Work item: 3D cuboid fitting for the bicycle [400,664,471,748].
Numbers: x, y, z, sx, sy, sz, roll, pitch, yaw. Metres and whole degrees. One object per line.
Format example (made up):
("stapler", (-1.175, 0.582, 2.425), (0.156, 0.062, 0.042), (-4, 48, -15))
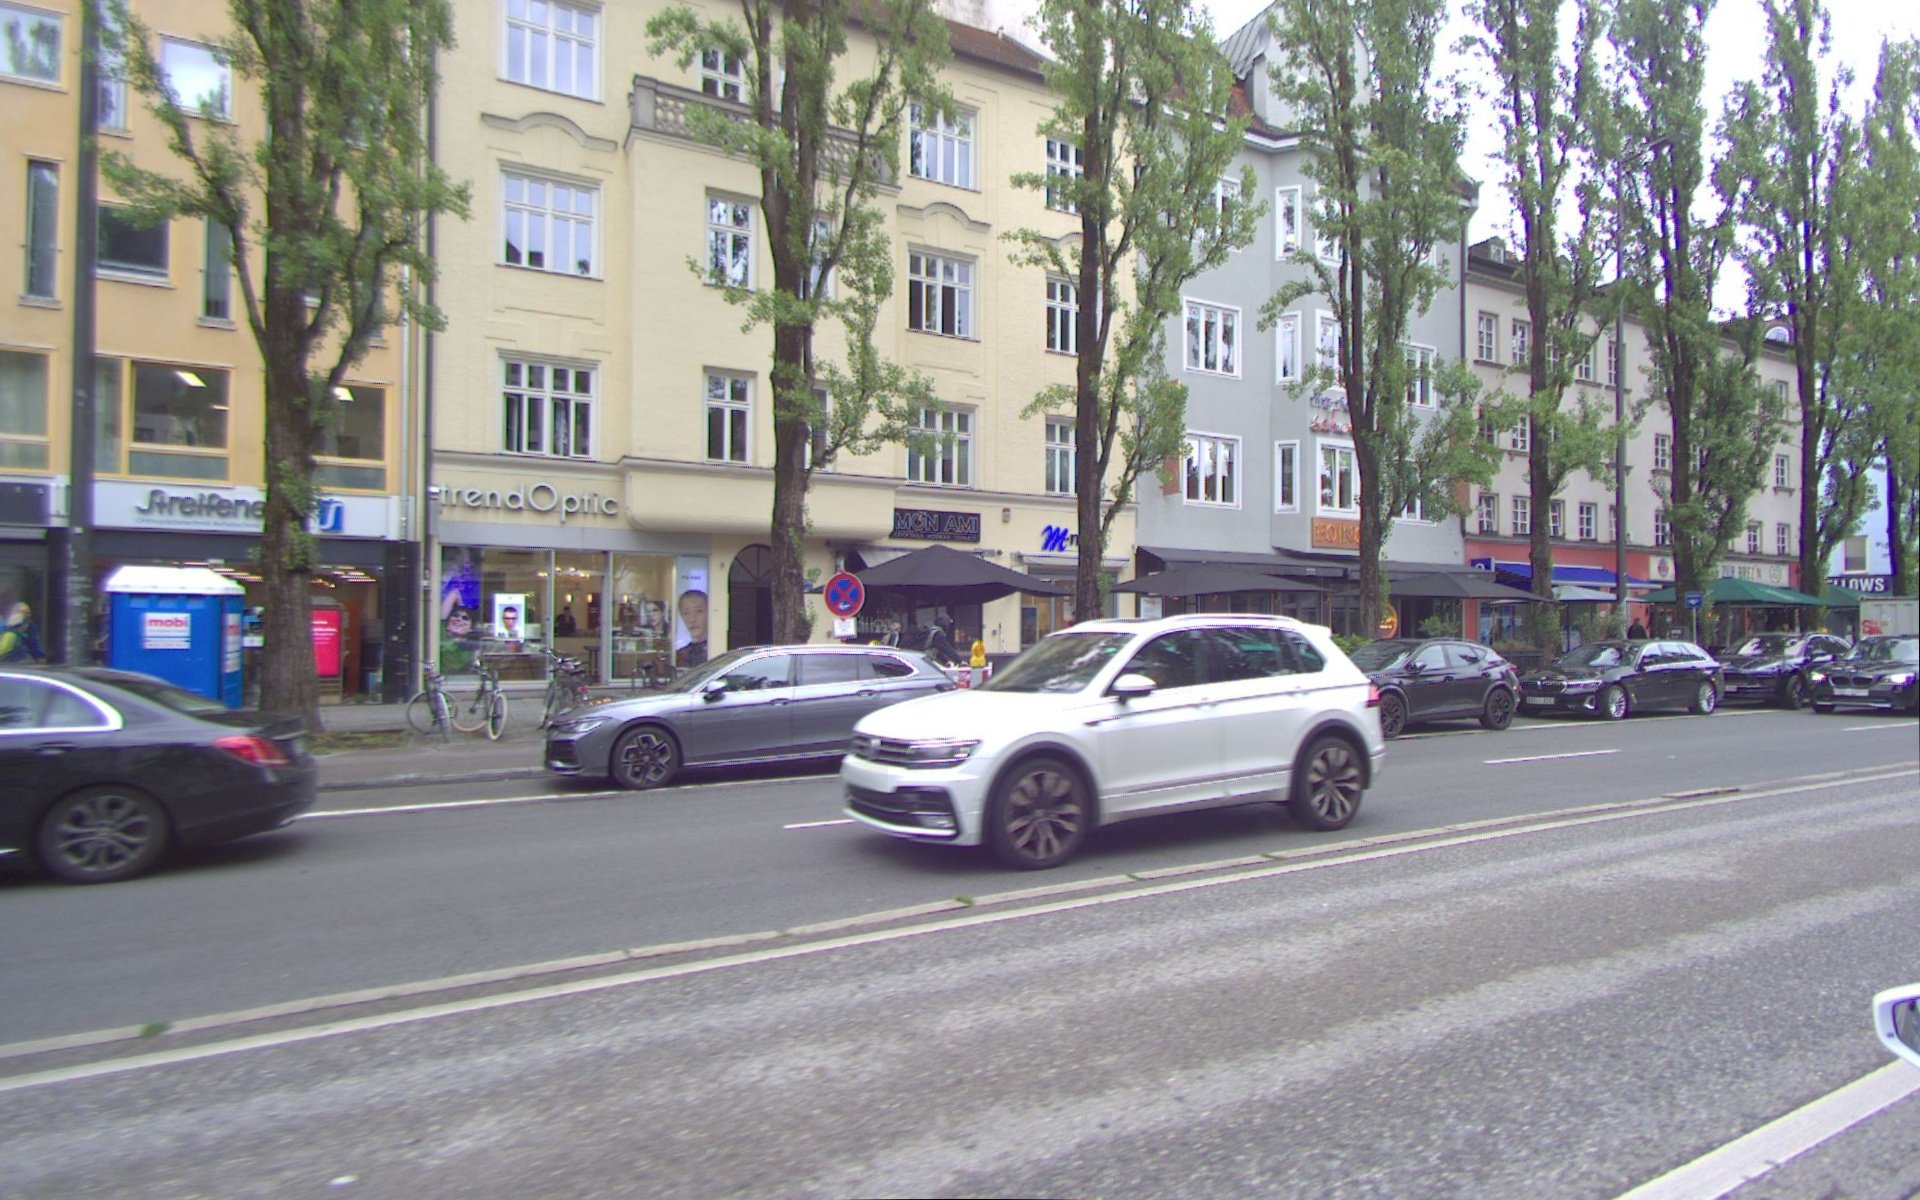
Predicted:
("bicycle", (-7.326, 1.440, 13.998), (0.617, 1.055, 1.625), (1, -3, -37))

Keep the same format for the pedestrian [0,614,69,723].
("pedestrian", (-14.675, 1.061, 15.807), (0.754, 1.647, 0.836), (2, -1, -29))

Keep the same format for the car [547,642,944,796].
("car", (-2.501, 1.257, 11.826), (4.240, 1.513, 1.933), (1, -2, -27))

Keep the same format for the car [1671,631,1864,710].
("car", (18.065, 1.503, 22.452), (4.278, 1.585, 1.841), (0, -2, -28))

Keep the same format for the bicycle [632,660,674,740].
("bicycle", (-4.731, 1.496, 15.532), (0.496, 1.115, 2.127), (0, -2, -14))

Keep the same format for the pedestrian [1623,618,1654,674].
("pedestrian", (23.348, 1.574, 34.547), (0.639, 1.886, 0.636), (1, -2, -28))

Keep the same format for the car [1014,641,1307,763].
("car", (2.933, 1.389, 14.648), (3.949, 1.539, 1.798), (1, -3, -27))

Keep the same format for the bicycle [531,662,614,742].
("bicycle", (-5.699, 1.446, 14.706), (0.617, 1.055, 1.993), (1, -3, -37))

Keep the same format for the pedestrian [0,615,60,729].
("pedestrian", (-14.142, 1.062, 15.063), (0.754, 1.647, 0.836), (2, -1, -29))

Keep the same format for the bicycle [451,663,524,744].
("bicycle", (-6.777, 1.444, 14.368), (0.617, 1.055, 1.625), (1, -3, -37))

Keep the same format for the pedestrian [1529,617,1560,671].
("pedestrian", (19.138, 1.438, 32.903), (0.639, 1.722, 0.636), (1, -2, -28))

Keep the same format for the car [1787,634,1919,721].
("car", (18.839, 1.521, 20.271), (4.159, 1.585, 1.842), (2, -3, -28))

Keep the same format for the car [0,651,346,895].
("car", (-6.815, 1.094, 6.703), (4.482, 1.453, 1.932), (1, -3, -28))

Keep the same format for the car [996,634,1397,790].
("car", (2.787, 1.165, 11.704), (4.401, 1.513, 1.932), (1, -3, -29))

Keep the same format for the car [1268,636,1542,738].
("car", (7.533, 1.386, 16.983), (4.264, 1.502, 1.987), (1, -3, -27))

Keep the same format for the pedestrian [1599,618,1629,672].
("pedestrian", (22.877, 1.572, 35.132), (0.639, 1.886, 0.636), (1, -2, -28))

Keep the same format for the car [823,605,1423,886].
("car", (1.330, 0.935, 7.886), (4.408, 1.663, 1.932), (1, -2, -29))

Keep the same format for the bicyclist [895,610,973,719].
("bicyclist", (-0.400, 0.970, 15.343), (1.093, 1.601, 0.494), (1, -2, -29))

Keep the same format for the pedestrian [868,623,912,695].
("pedestrian", (-1.579, 1.303, 22.586), (0.805, 1.582, 0.632), (1, -2, -26))

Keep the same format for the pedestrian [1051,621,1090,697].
("pedestrian", (2.609, 1.377, 23.797), (0.745, 1.770, 0.537), (1, -1, -28))

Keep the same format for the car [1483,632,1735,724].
("car", (12.804, 1.462, 19.783), (4.827, 1.617, 1.987), (1, -3, -27))
